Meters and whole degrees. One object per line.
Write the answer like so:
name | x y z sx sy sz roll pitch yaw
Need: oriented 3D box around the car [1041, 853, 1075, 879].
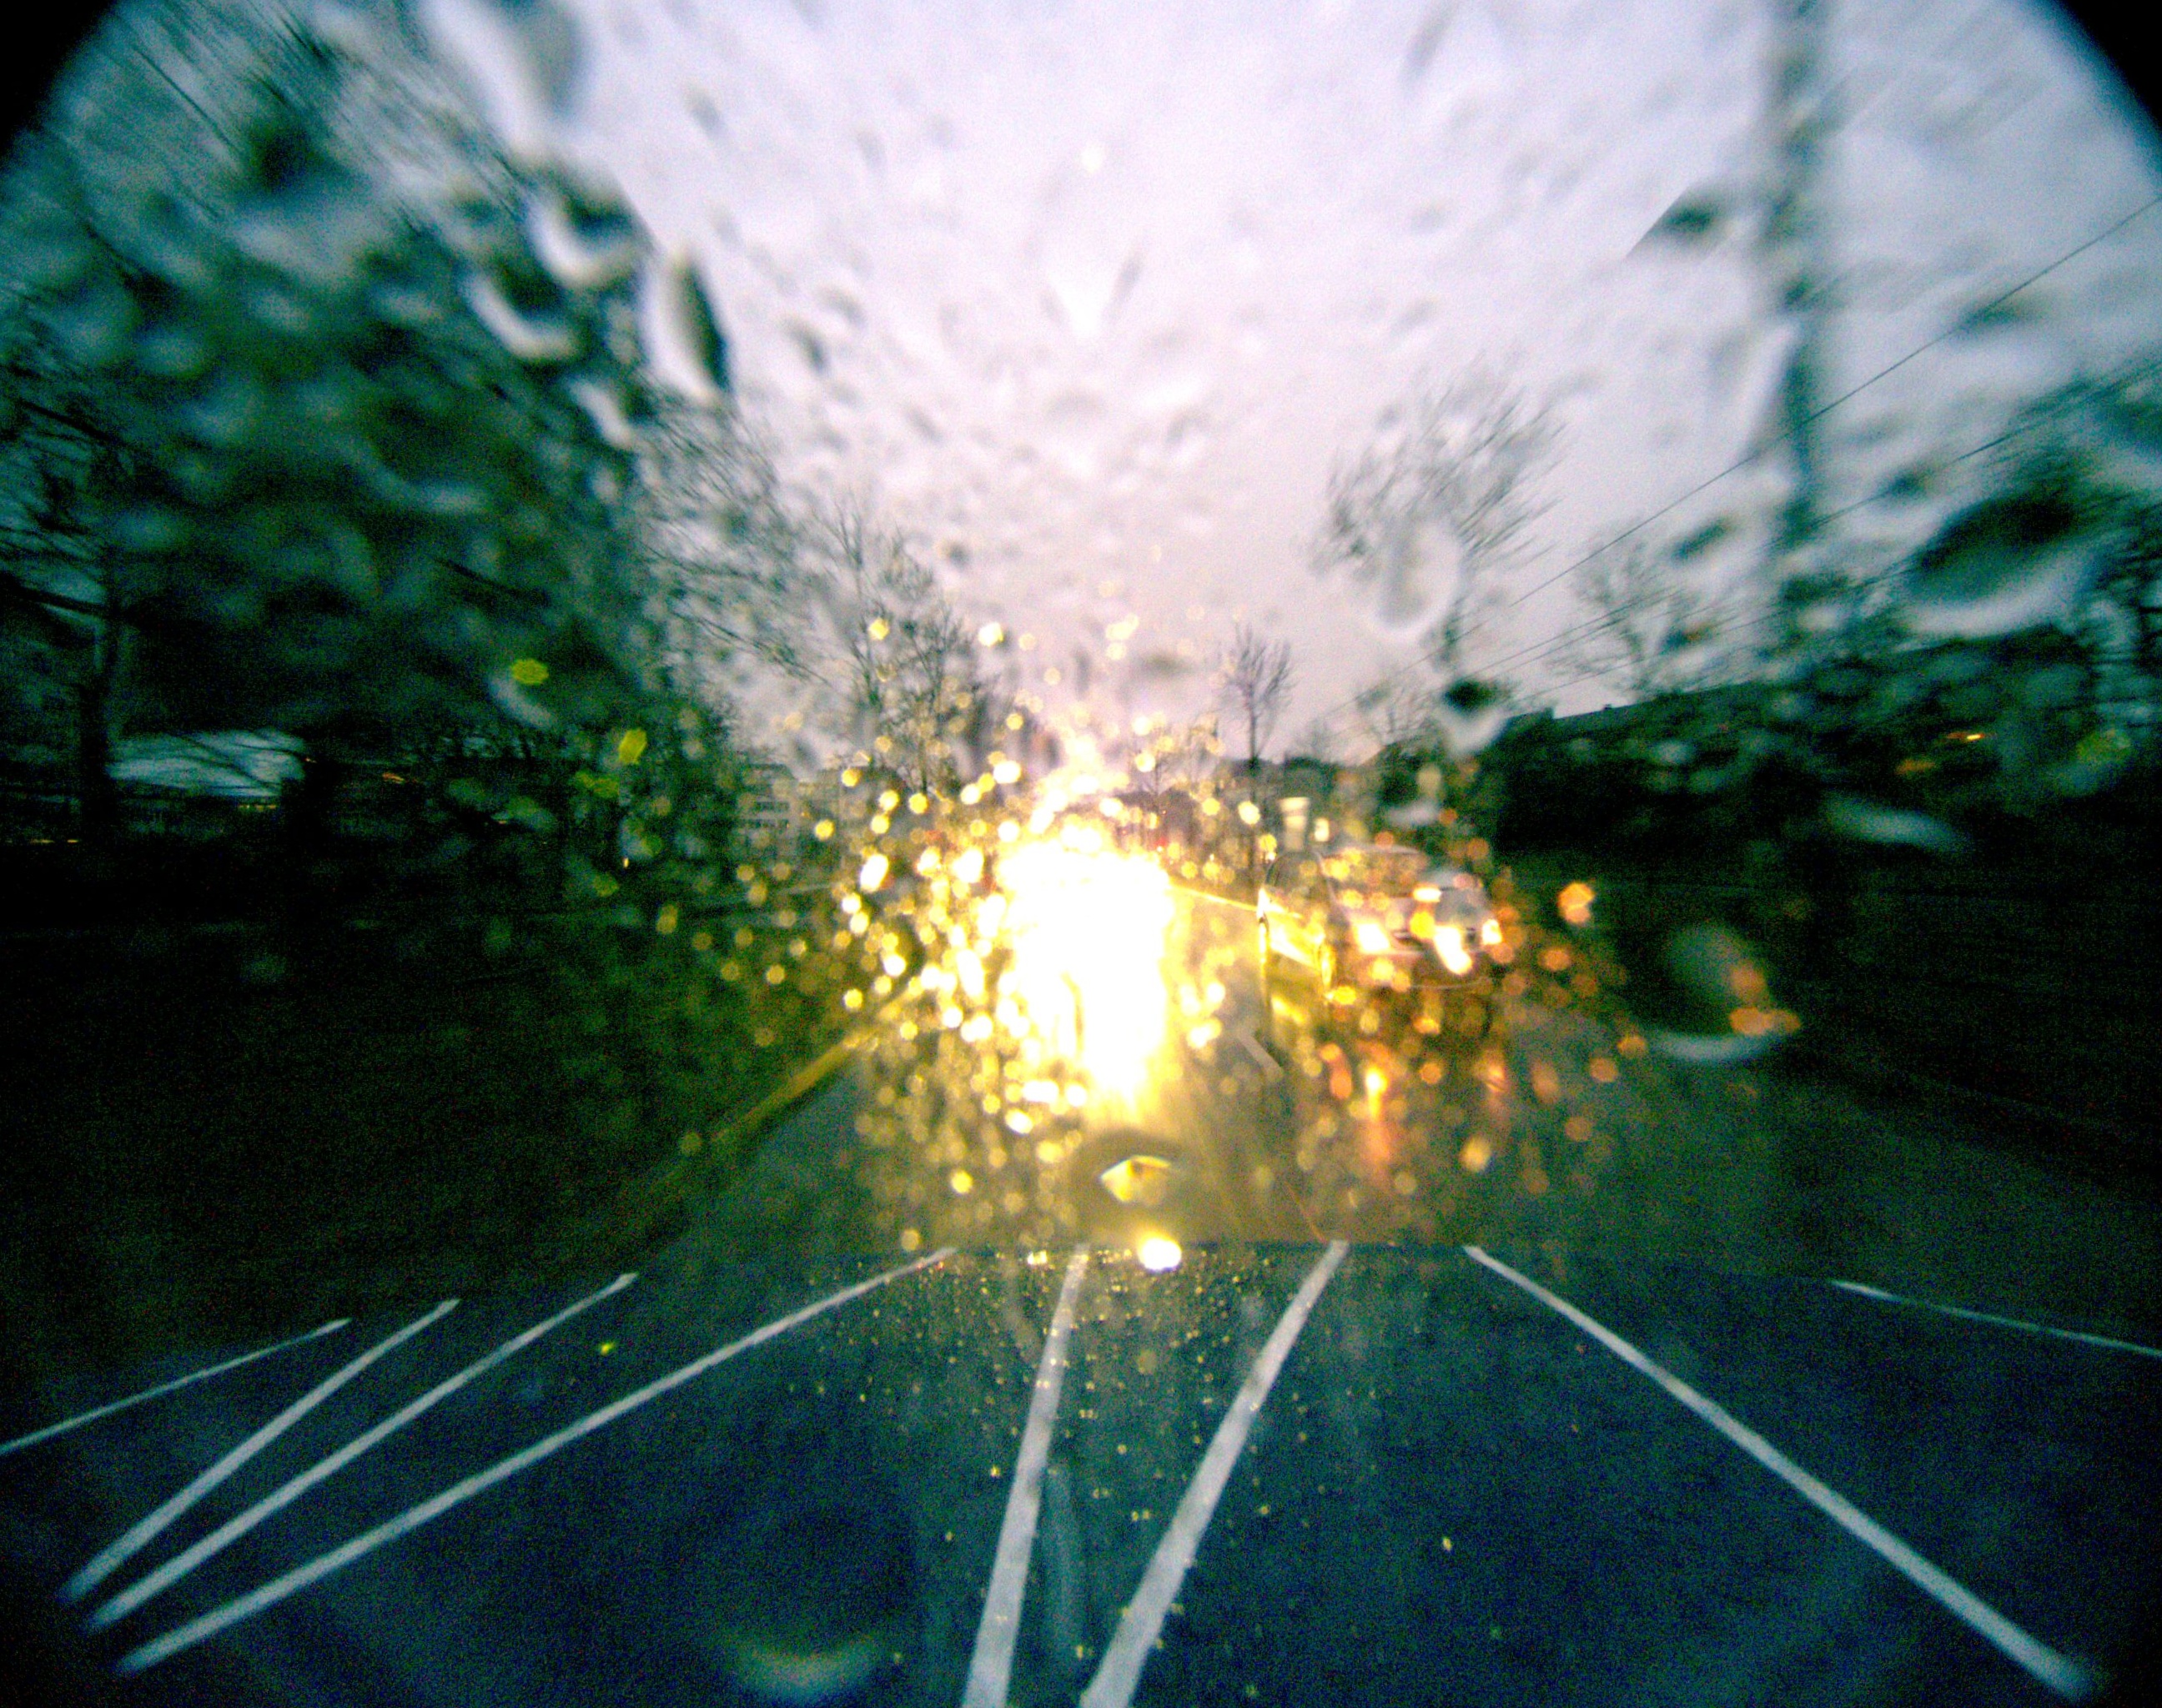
car | -1.548 0.761 49.873 1.950 1.546 4.215 -3 0 -4

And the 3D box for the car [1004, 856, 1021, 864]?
car | -11.976 1.011 133.098 2.002 1.316 3.993 -1 0 -20

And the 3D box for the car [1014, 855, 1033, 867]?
car | -7.978 1.025 104.787 1.951 1.546 4.212 -3 0 -13

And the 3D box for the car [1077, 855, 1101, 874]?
car | 0.659 0.900 66.576 1.949 1.546 4.216 -3 0 -1

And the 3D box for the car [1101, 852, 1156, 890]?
car | 2.122 0.749 34.986 1.924 1.546 4.215 -3 0 -4

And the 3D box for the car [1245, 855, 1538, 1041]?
car | 3.172 0.836 8.681 1.669 1.566 3.922 -3 0 0

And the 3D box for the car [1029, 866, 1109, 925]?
car | -0.406 1.020 20.300 1.897 1.347 4.288 -1 0 -3

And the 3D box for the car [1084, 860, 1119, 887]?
car | 1.297 1.242 49.364 1.845 1.546 4.215 -3 0 -4
